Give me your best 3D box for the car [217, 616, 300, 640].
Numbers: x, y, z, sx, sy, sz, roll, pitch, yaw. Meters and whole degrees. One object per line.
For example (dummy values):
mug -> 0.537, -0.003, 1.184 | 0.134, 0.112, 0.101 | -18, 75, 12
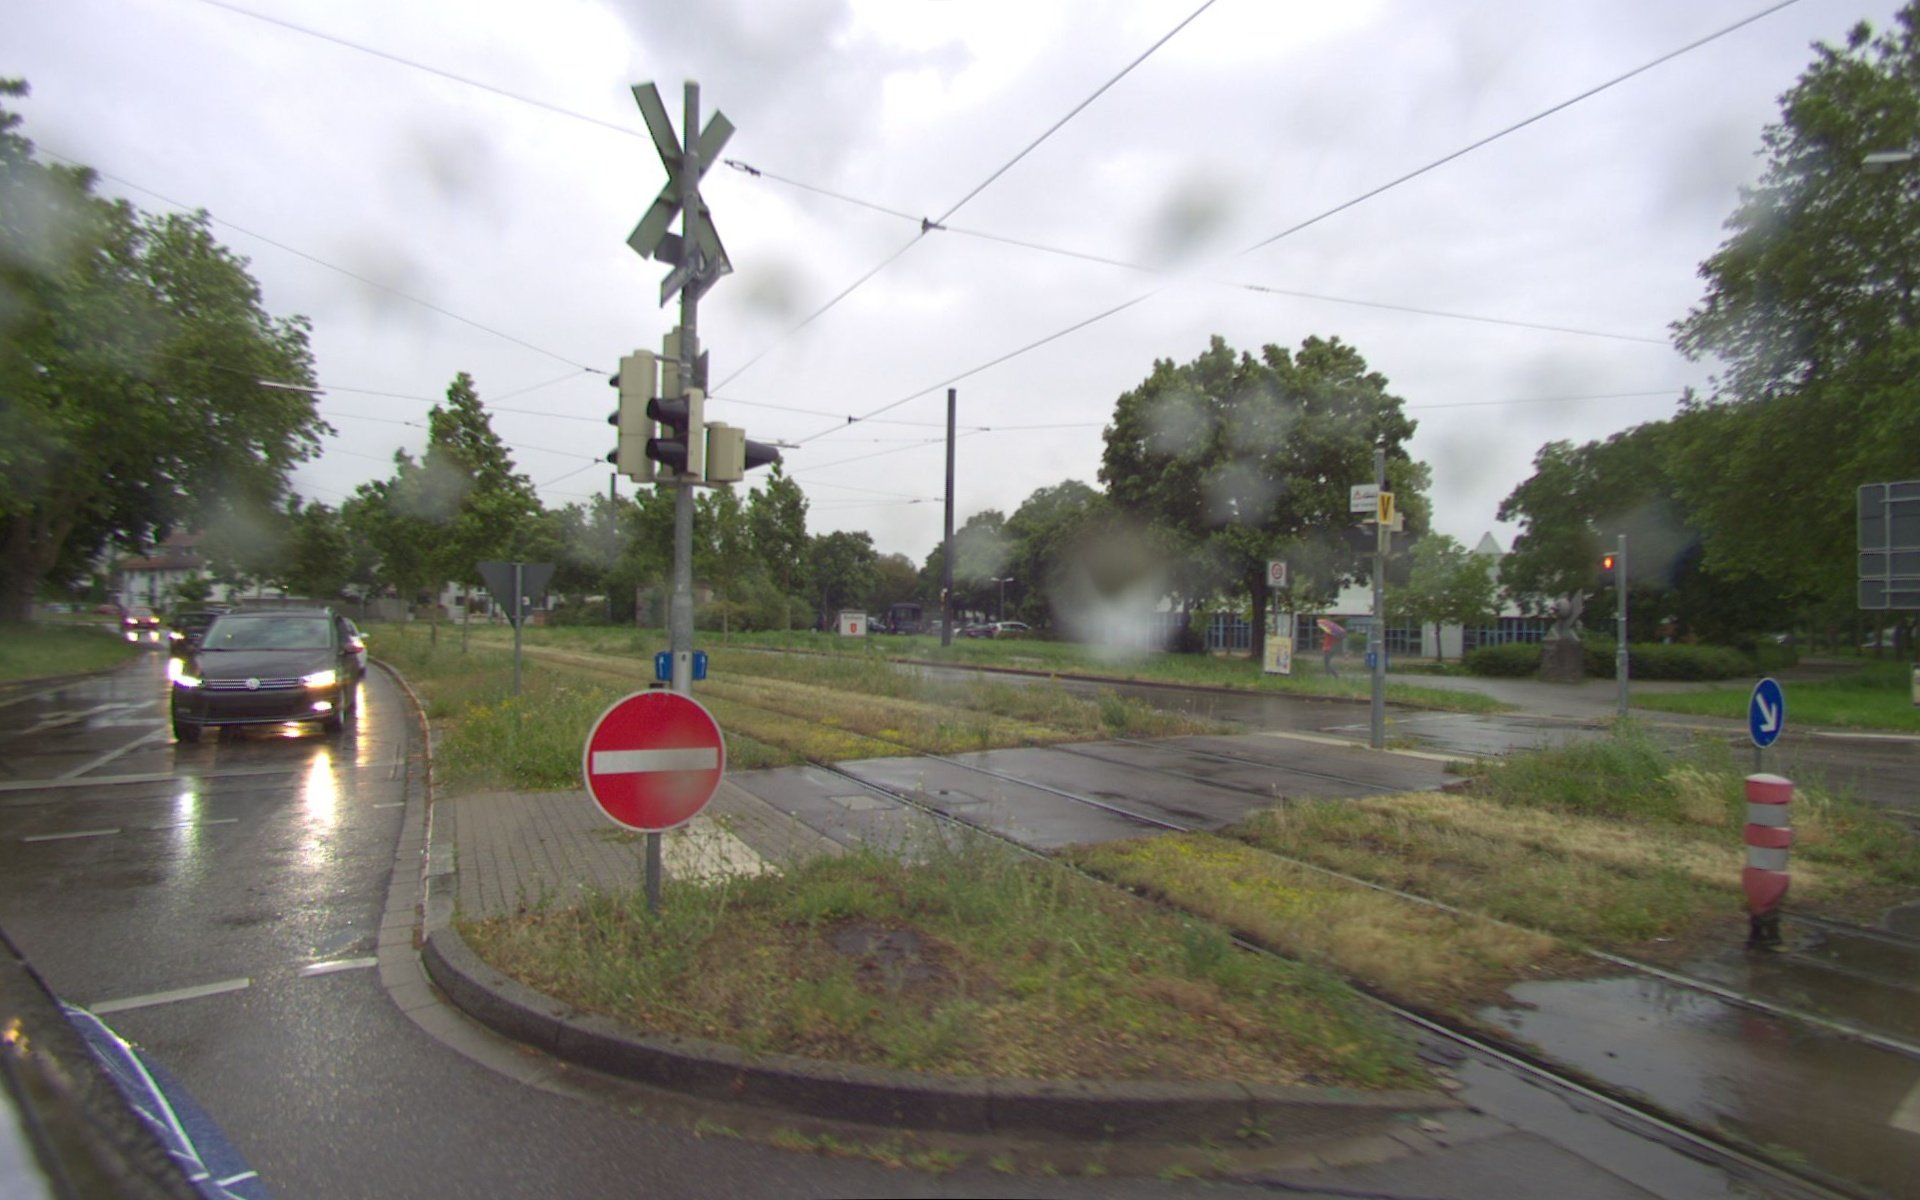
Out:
car -> -42.093, 1.656, 60.760 | 3.982, 1.431, 1.678 | 0, -1, -41

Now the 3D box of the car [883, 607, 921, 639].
car -> -3.874, 1.460, 66.899 | 2.277, 2.029, 5.125 | 0, -1, -6

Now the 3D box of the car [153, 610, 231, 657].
car -> -27.920, 1.173, 36.761 | 1.845, 1.630, 3.812 | 1, -1, -44

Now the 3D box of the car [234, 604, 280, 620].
car -> -80.835, 1.403, 116.418 | 1.882, 1.815, 3.966 | -1, -1, 25

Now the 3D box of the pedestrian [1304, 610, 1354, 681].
pedestrian -> 10.739, 1.309, 29.461 | 0.938, 2.006, 1.010 | 0, -1, -34

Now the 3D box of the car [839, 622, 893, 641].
car -> -7.319, 2.444, 78.800 | 4.120, 1.494, 1.784 | 0, -1, -3

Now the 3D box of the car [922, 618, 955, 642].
car -> -1.479, 1.996, 67.913 | 1.729, 1.542, 4.856 | 0, -1, -6

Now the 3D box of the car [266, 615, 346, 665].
car -> -19.793, 1.156, 30.570 | 1.760, 1.414, 3.803 | 0, -1, -37

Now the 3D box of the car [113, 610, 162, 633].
car -> -52.850, 1.363, 65.017 | 3.862, 1.391, 1.765 | -1, -1, 40

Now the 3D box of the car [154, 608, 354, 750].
car -> -9.458, 0.924, 13.903 | 1.835, 1.613, 4.539 | 0, -1, -30

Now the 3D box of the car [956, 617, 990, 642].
car -> 0.807, 1.977, 67.917 | 2.032, 1.584, 5.018 | 0, -1, -2
